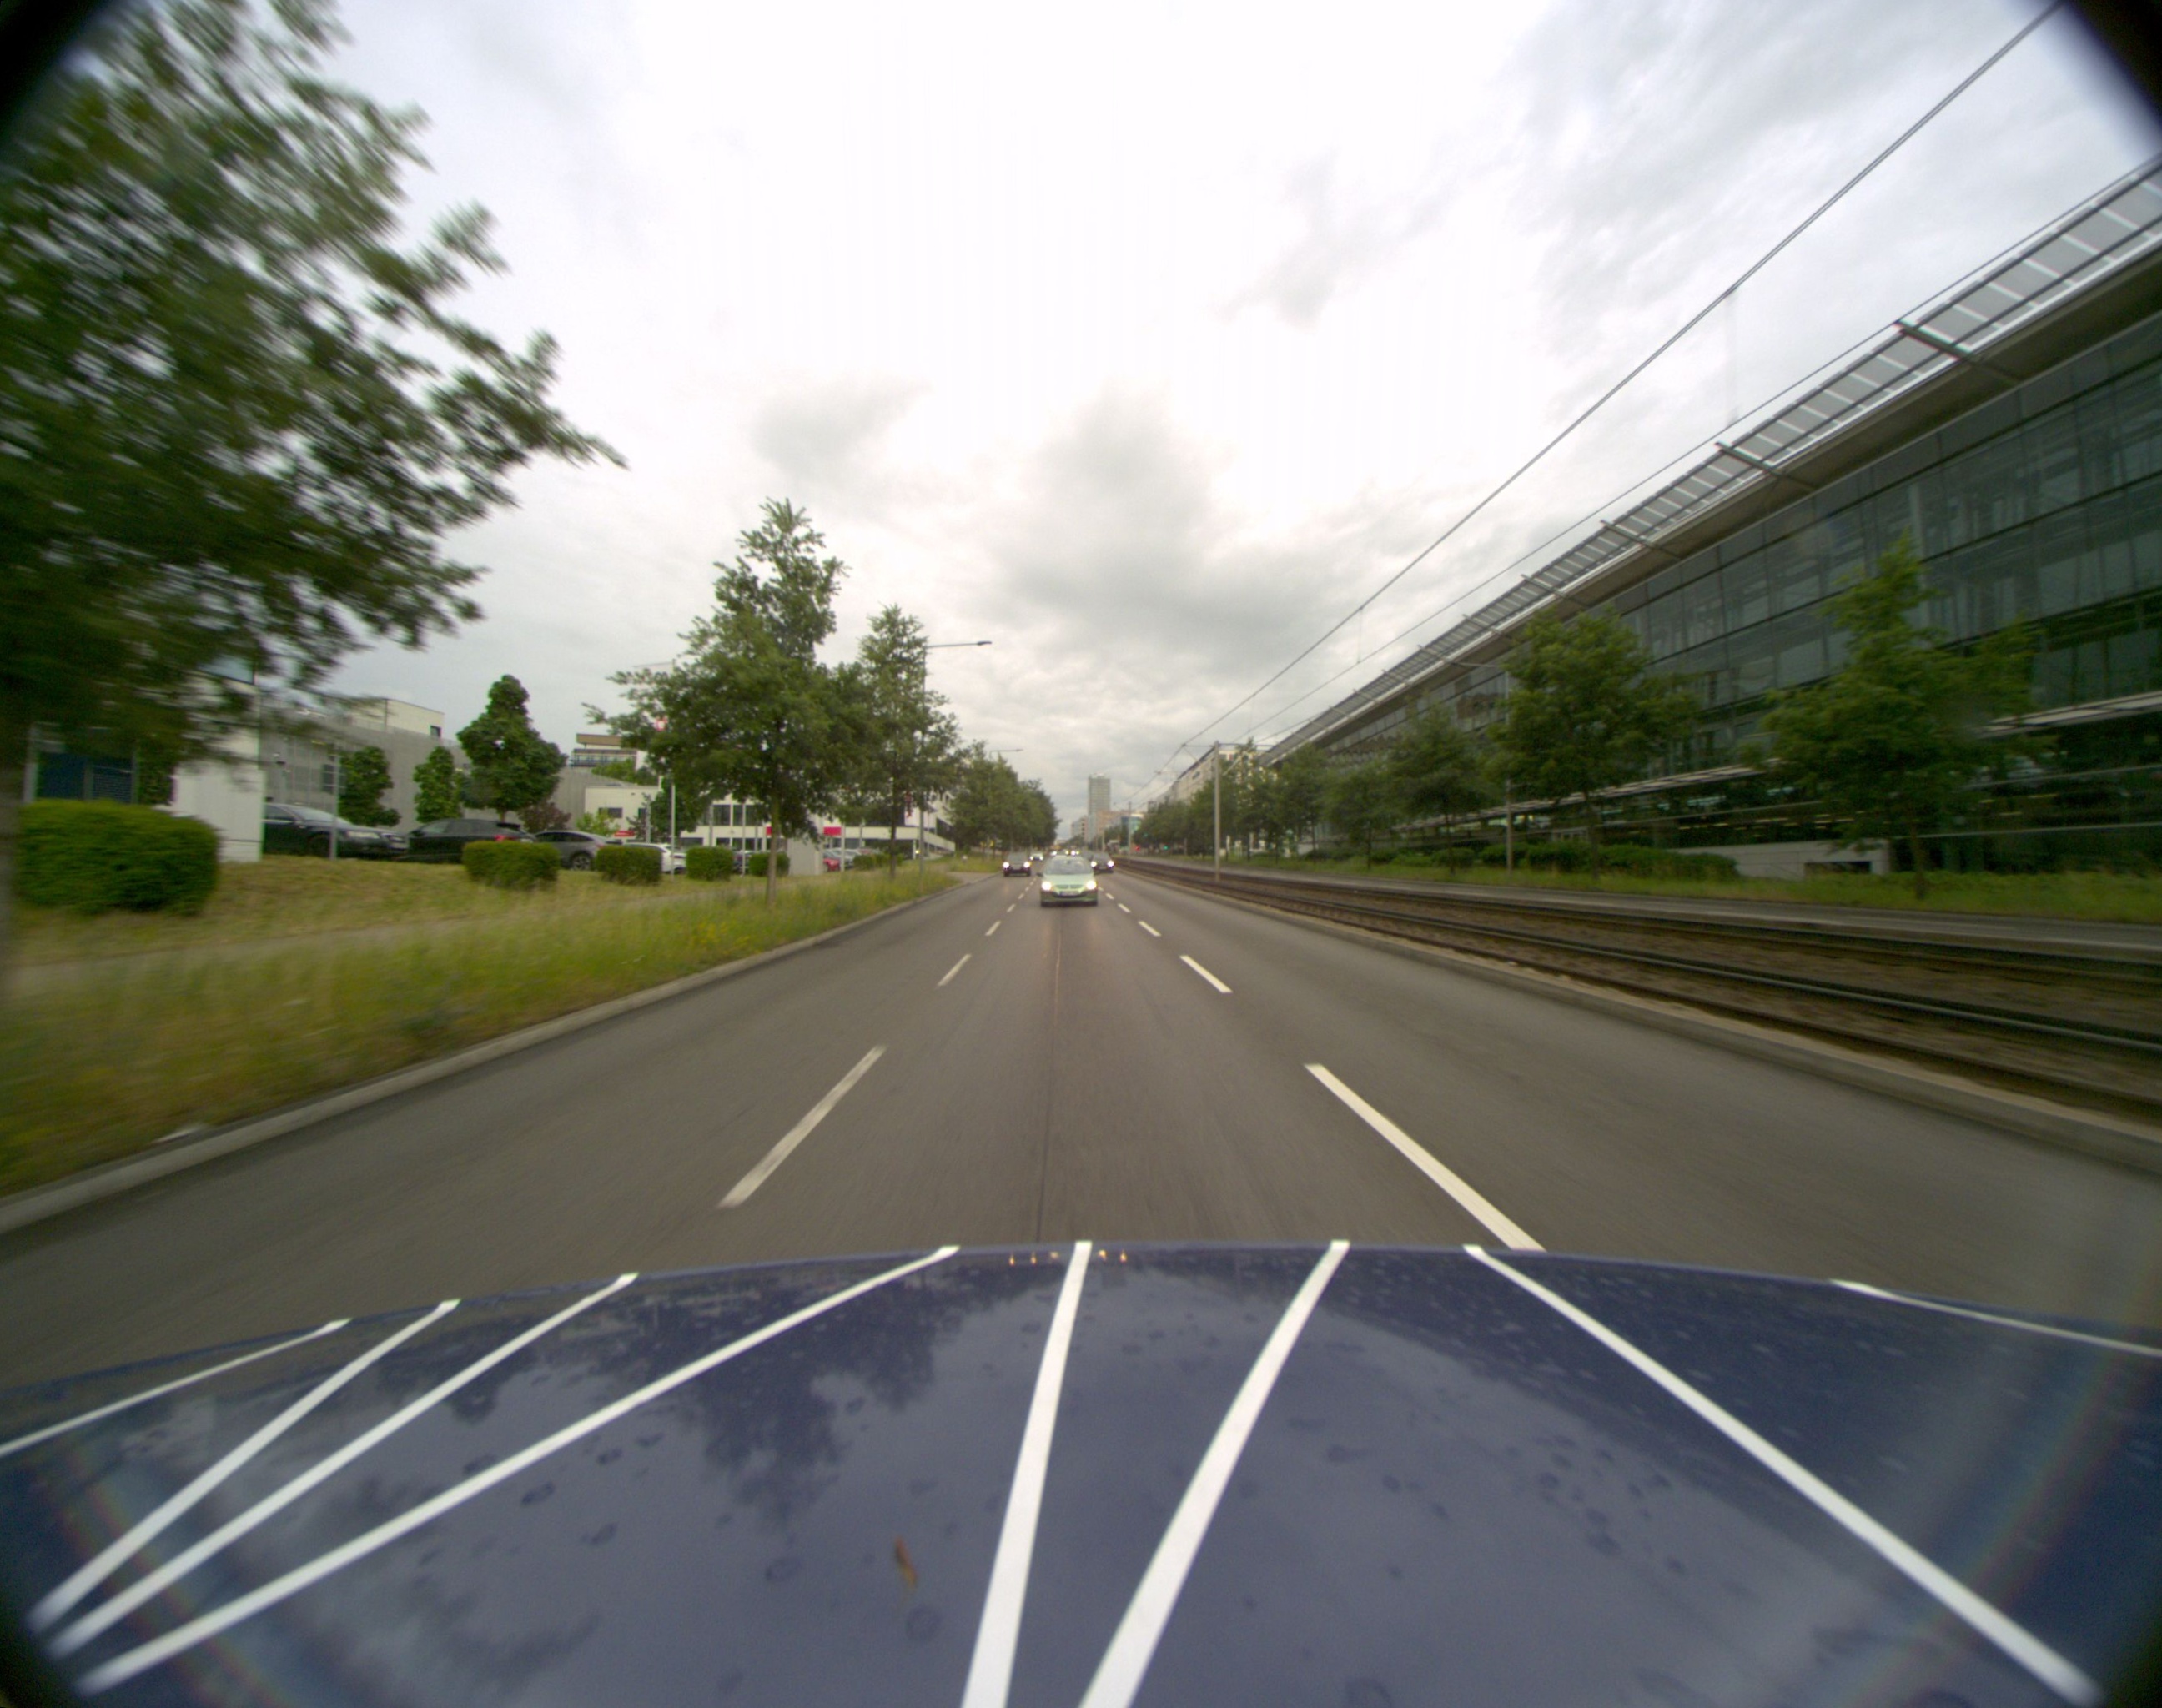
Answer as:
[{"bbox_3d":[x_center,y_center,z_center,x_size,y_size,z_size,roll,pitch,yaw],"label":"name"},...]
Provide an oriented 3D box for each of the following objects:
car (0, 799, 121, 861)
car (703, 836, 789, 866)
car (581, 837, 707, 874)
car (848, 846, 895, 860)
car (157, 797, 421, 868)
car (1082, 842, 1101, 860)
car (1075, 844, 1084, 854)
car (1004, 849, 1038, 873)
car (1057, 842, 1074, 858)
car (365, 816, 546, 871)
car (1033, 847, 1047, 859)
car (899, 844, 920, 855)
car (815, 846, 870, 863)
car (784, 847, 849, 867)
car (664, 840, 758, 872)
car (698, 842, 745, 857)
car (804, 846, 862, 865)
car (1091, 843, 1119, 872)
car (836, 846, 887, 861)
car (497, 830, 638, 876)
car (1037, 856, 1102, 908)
[{"bbox_3d":[-29.590,-0.621,20.795,4.117,1.565,1.825,-1,0,-3],"label":"car"},{"bbox_3d":[-19.234,-0.196,43.789,4.119,1.585,1.946,-1,2,-10],"label":"car"},{"bbox_3d":[-19.370,0.047,33.818,4.532,1.585,1.691,0,2,-3],"label":"car"},{"bbox_3d":[-21.634,-0.095,78.539,4.409,1.341,1.930,1,2,-3],"label":"car"},{"bbox_3d":[-19.040,-0.496,18.423,4.433,1.565,1.692,-1,0,-3],"label":"car"},{"bbox_3d":[1.137,-0.323,79.684,1.860,1.799,4.113,-1,0,1],"label":"car"},{"bbox_3d":[-0.297,-1.187,177.936,1.999,2.002,3.999,-2,1,0],"label":"car"},{"bbox_3d":[-4.126,0.506,53.115,1.828,1.599,4.115,-1,-1,3],"label":"car"},{"bbox_3d":[-2.007,-0.523,98.051,1.998,2.002,3.999,-2,1,2],"label":"car"},{"bbox_3d":[-19.360,-0.318,23.660,4.117,1.565,1.692,-1,0,-3],"label":"car"},{"bbox_3d":[-6.413,-0.202,119.564,1.860,1.799,4.114,-1,-1,1],"label":"car"},{"bbox_3d":[-21.349,-0.550,94.855,1.903,1.330,3.920,0,1,-2],"label":"car"},{"bbox_3d":[-21.690,0.037,69.235,4.473,1.520,1.930,1,2,-3],"label":"car"},{"bbox_3d":[-20.961,0.198,60.332,4.475,1.542,1.929,0,2,-6],"label":"car"},{"bbox_3d":[-19.846,0.108,40.887,4.117,1.585,1.870,-1,1,-3],"label":"car"},{"bbox_3d":[-39.422,-0.461,83.391,4.289,1.584,1.825,0,2,-4],"label":"car"},{"bbox_3d":[-21.560,0.091,66.257,4.473,1.542,1.930,1,2,-3],"label":"car"},{"bbox_3d":[1.808,0.253,57.513,1.998,2.002,3.999,-2,1,1],"label":"car"},{"bbox_3d":[-21.678,-0.045,75.069,4.473,1.448,1.930,0,2,-3],"label":"car"},{"bbox_3d":[-19.295,-0.025,28.686,4.117,1.599,1.692,-1,0,-3],"label":"car"},{"bbox_3d":[-0.282,0.833,24.265,1.828,1.499,4.114,-1,0,2],"label":"car"}]
